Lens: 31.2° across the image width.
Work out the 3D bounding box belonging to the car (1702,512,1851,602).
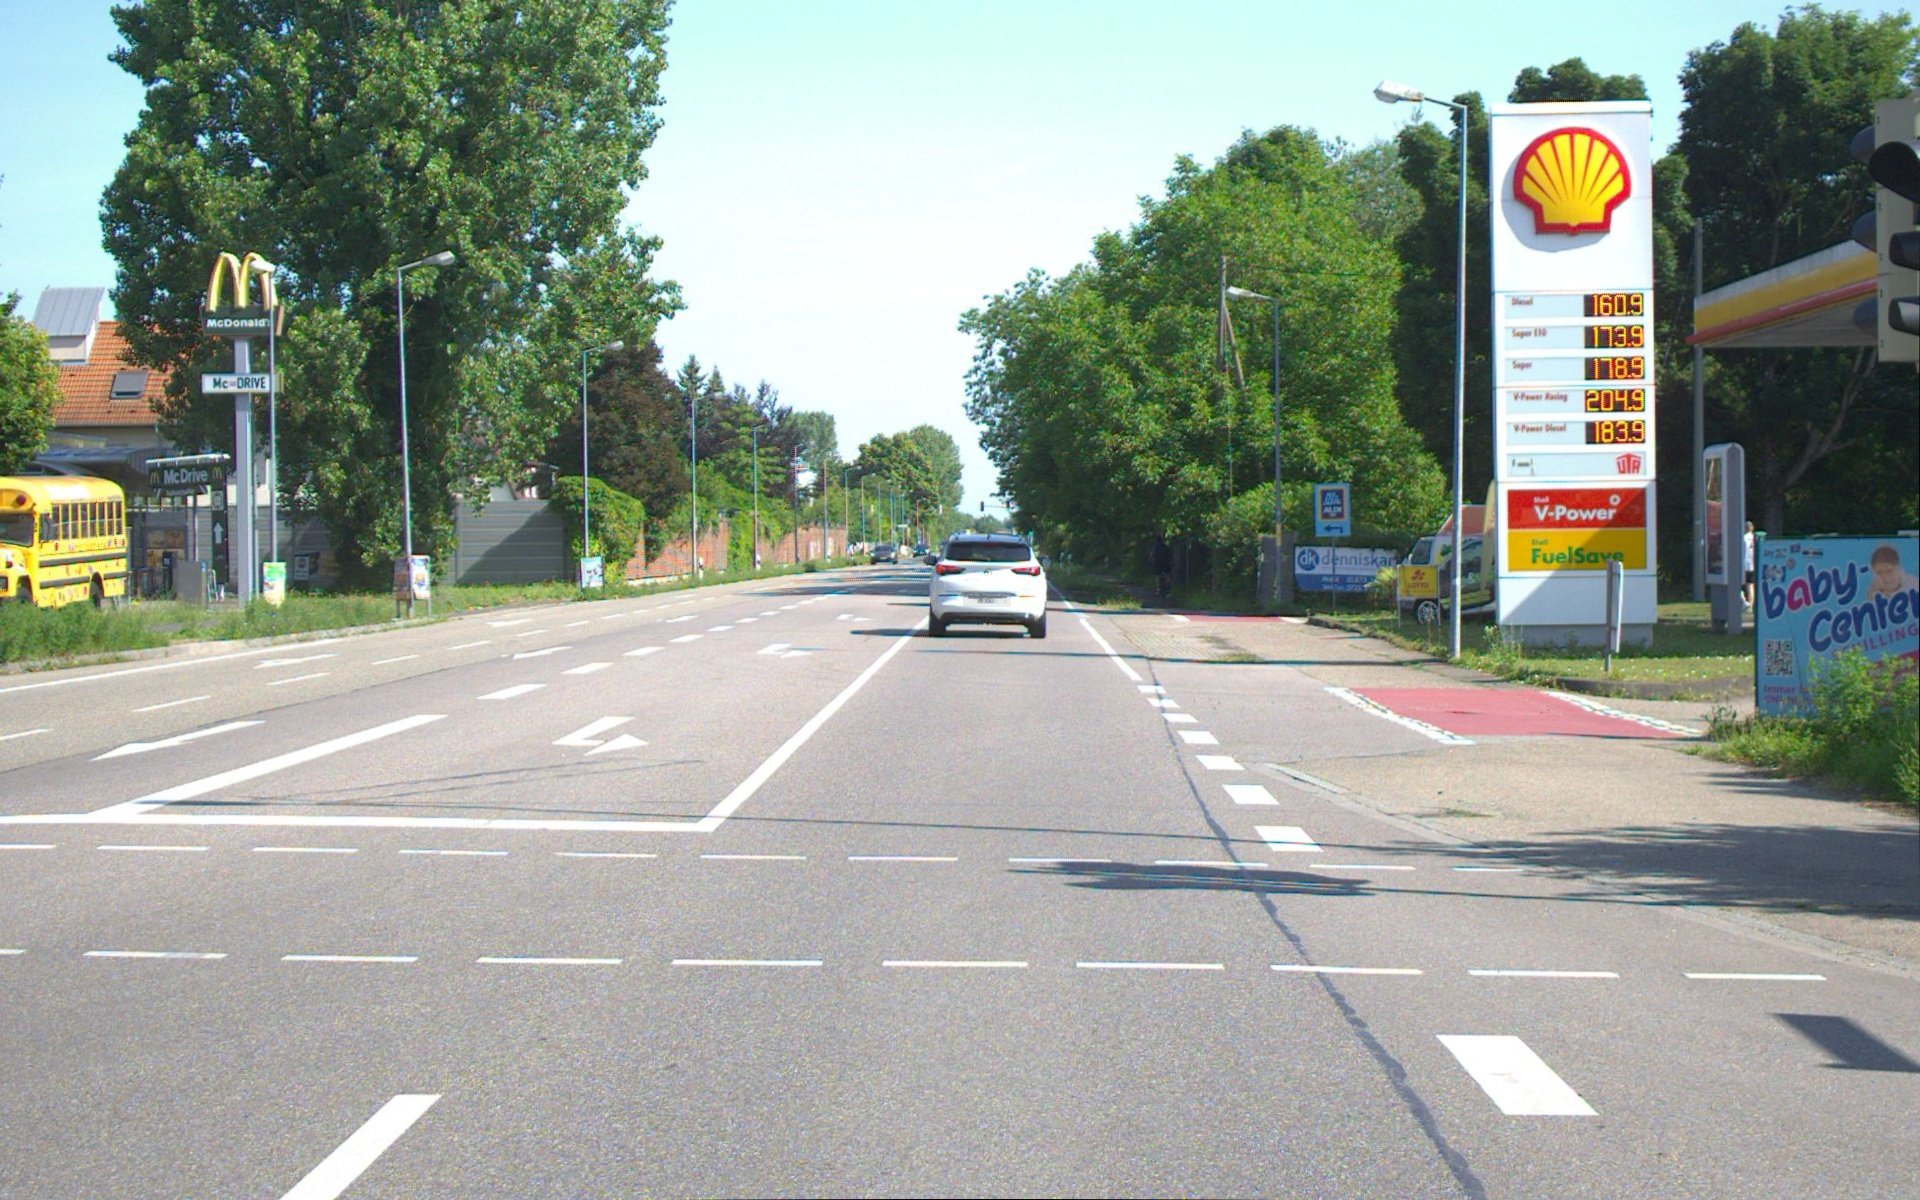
[{"bbox_3d":[16.810,-0.887,70.957,1.993,1.760,4.000,1,1,-2],"label":"car"}]

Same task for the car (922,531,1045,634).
[{"bbox_3d":[0.399,-0.292,54.587,1.847,1.536,4.224,1,1,1],"label":"car"}]

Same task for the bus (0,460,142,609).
[{"bbox_3d":[-18.097,-1.244,66.267,2.579,2.670,8.997,1,1,-1],"label":"bus"}]

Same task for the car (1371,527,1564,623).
[{"bbox_3d":[8.324,-0.409,56.437,1.573,1.525,2.729,1,0,-45],"label":"car"}]

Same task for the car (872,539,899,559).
[{"bbox_3d":[-5.634,-3.853,260.127,1.847,1.491,4.911,-2,1,1],"label":"car"}]

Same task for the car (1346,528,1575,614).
[{"bbox_3d":[9.436,-0.547,64.957,3.986,1.525,1.586,1,1,-6],"label":"car"}]

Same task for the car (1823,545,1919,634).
[{"bbox_3d":[15.173,-0.195,55.400,1.798,1.356,3.848,-1,1,4],"label":"car"}]
